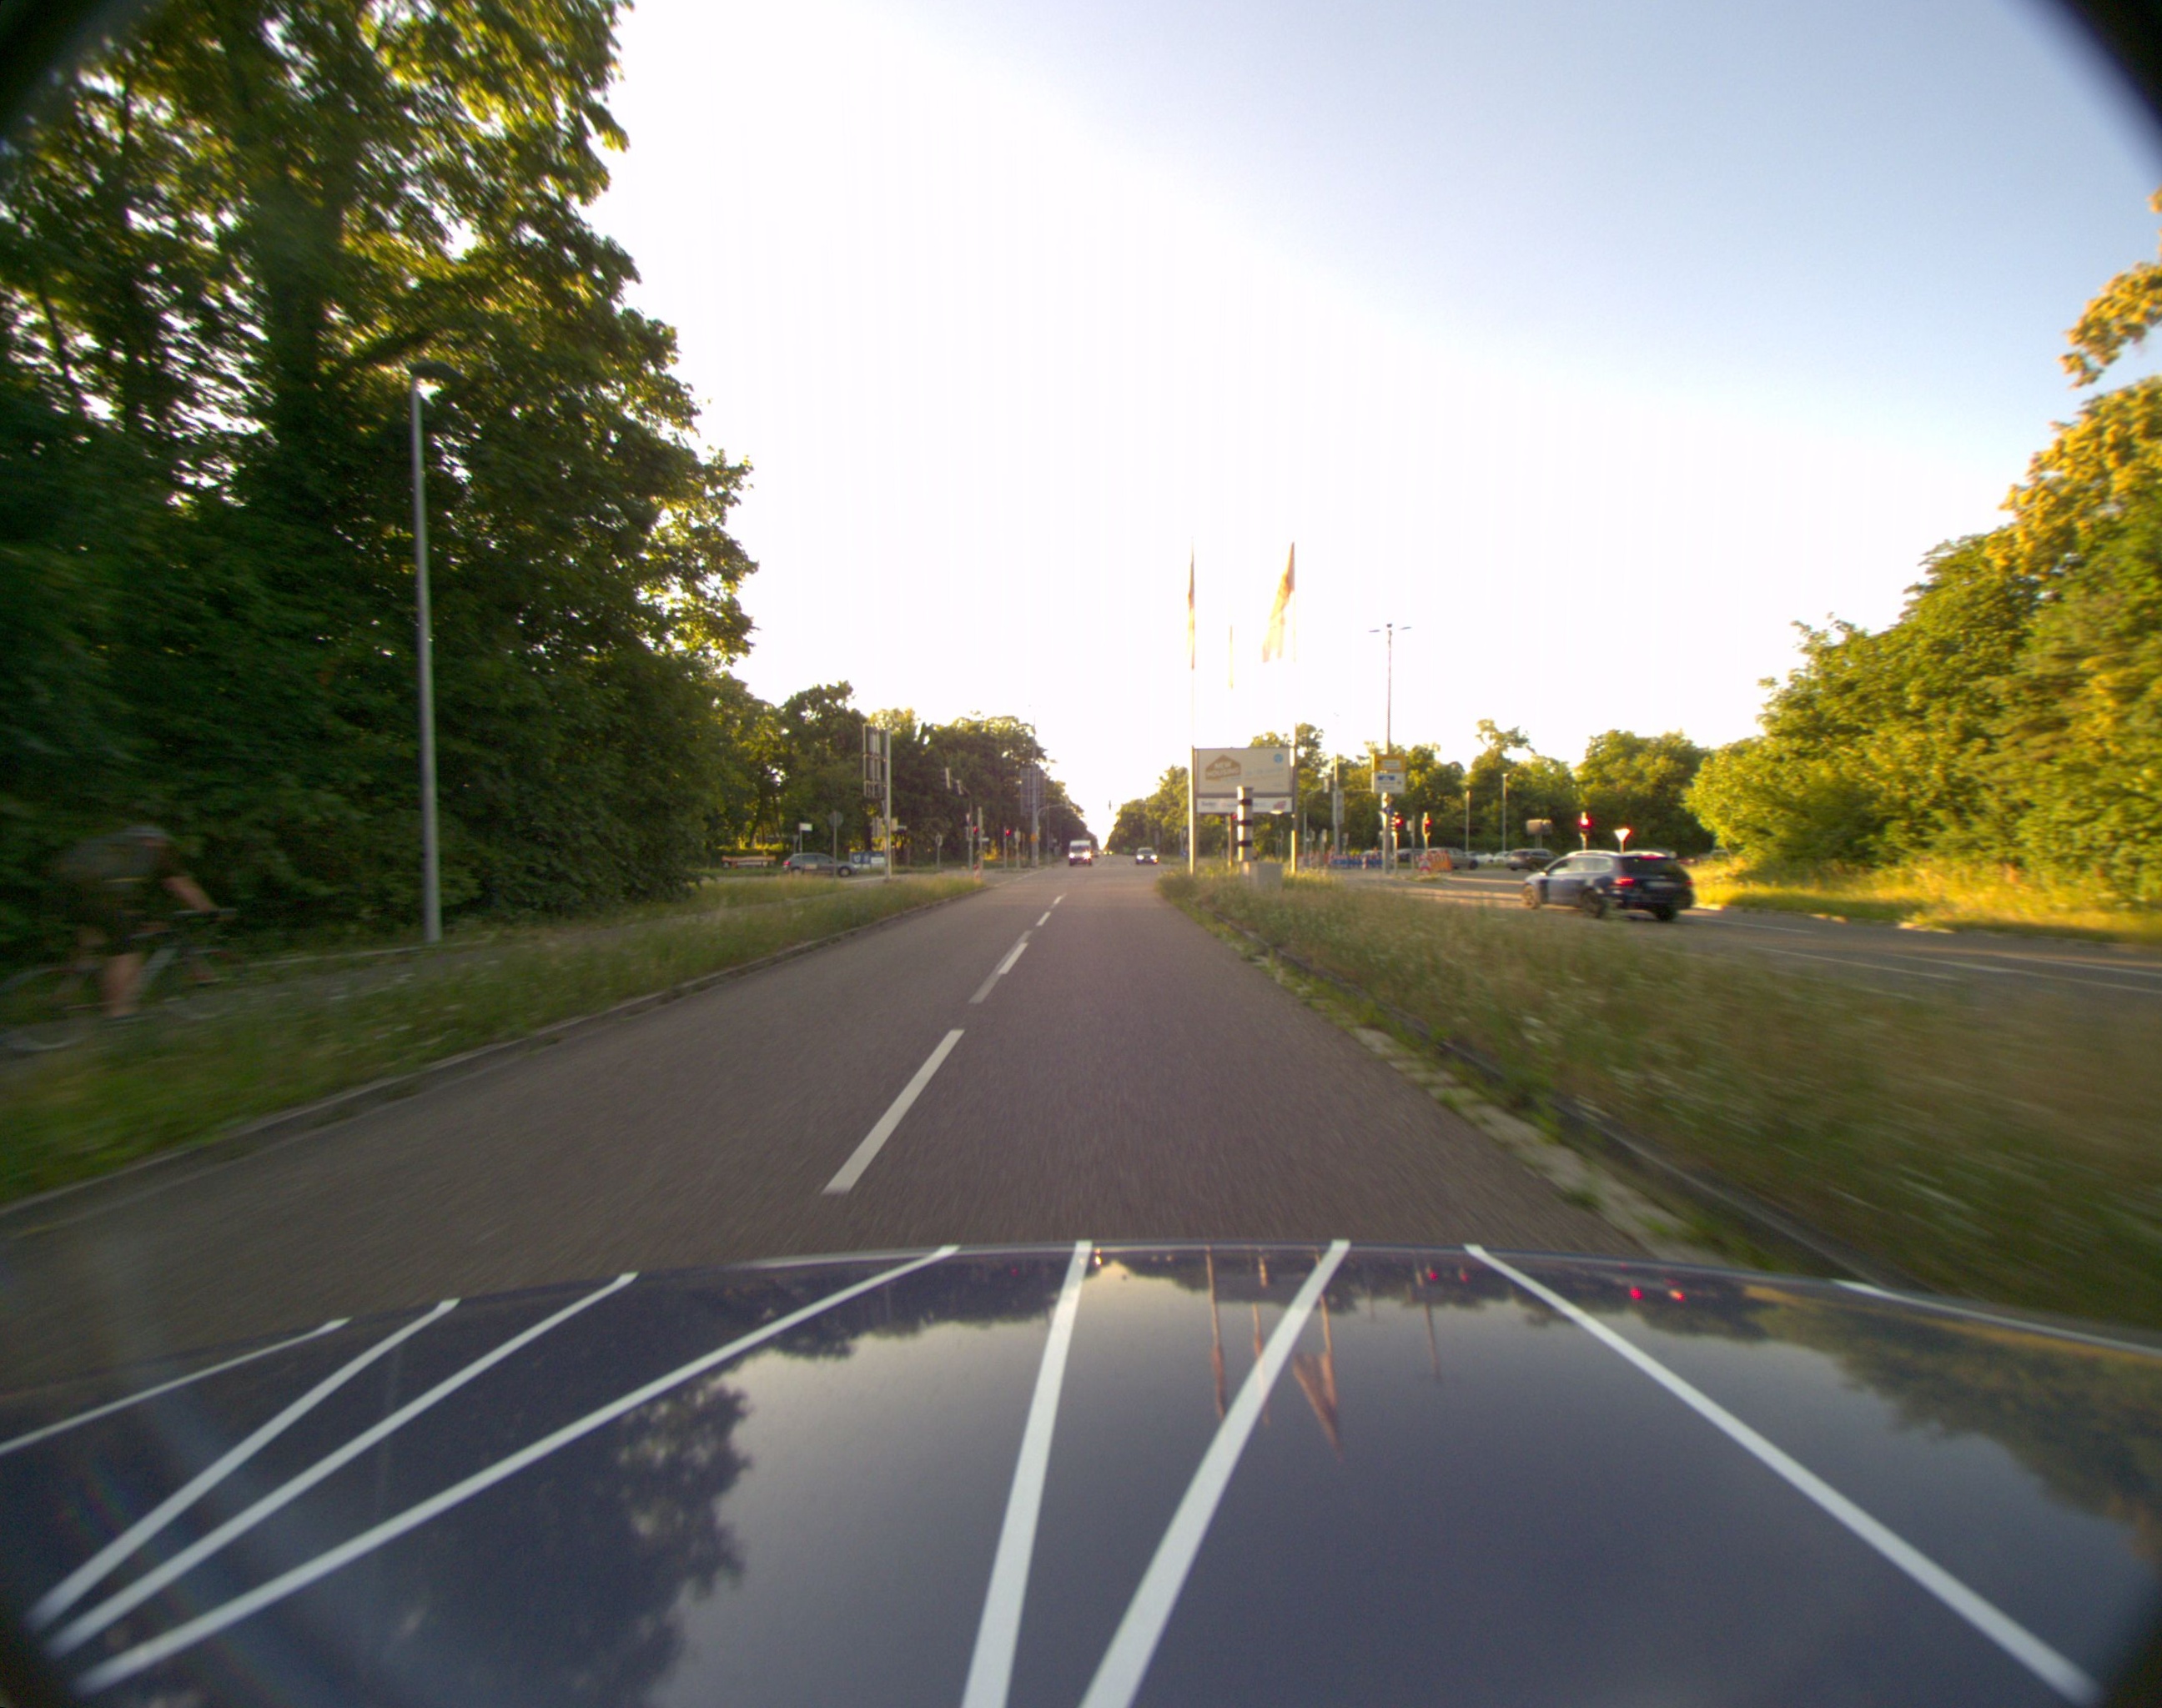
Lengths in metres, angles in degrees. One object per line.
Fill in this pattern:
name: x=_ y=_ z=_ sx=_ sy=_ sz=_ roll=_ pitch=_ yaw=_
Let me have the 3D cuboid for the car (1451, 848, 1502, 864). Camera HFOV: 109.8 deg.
car: x=37.422 y=0.163 z=71.831 sx=4.235 sy=1.447 sz=1.719 roll=-1 pitch=1 yaw=-15

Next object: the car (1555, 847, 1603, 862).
car: x=52.003 y=0.058 z=79.315 sx=4.403 sy=1.447 sz=1.719 roll=-1 pitch=1 yaw=-15

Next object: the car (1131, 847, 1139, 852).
car: x=14.660 y=-1.290 z=206.574 sx=1.663 sy=1.320 sz=4.045 roll=0 pitch=2 yaw=0

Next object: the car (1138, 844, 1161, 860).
car: x=6.689 y=-0.200 z=74.657 sx=2.001 sy=1.511 sz=4.000 roll=-1 pitch=1 yaw=2

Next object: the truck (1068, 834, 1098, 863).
truck: x=0.140 y=-0.495 z=72.712 sx=2.603 sy=2.542 sz=6.023 roll=-3 pitch=0 yaw=0

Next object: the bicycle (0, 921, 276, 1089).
bicycle: x=-7.746 y=1.129 z=6.140 sx=0.612 sy=0.990 sz=1.691 roll=0 pitch=1 yaw=2

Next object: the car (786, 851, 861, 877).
car: x=-15.204 y=0.567 z=44.798 sx=4.080 sy=1.398 sz=1.868 roll=-1 pitch=3 yaw=-22

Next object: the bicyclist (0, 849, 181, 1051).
bicyclist: x=-7.702 y=0.687 z=5.836 sx=0.604 sy=1.447 sz=0.780 roll=0 pitch=1 yaw=2

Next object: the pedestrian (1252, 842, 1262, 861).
pedestrian: x=16.723 y=-0.216 z=72.125 sx=0.750 sy=1.790 sz=0.575 roll=-1 pitch=2 yaw=-13

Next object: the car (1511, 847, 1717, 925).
car: x=12.109 y=0.632 z=17.703 sx=1.823 sy=1.525 sz=4.455 roll=1 pitch=1 yaw=3

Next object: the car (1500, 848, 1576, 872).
car: x=33.489 y=0.416 z=55.665 sx=4.824 sy=1.652 sz=2.009 roll=-1 pitch=3 yaw=-16

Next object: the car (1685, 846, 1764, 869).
car: x=52.028 y=0.274 z=61.491 sx=4.654 sy=1.715 sz=1.873 roll=0 pitch=1 yaw=6

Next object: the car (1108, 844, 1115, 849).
car: x=8.998 y=-2.226 z=226.481 sx=1.846 sy=1.587 sz=4.207 roll=0 pitch=2 yaw=1

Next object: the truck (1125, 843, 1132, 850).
truck: x=14.371 y=-2.388 z=229.979 sx=1.999 sy=2.109 sz=3.999 roll=0 pitch=1 yaw=0

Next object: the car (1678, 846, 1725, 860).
car: x=67.804 y=-0.140 z=83.052 sx=4.236 sy=1.413 sz=1.881 roll=0 pitch=1 yaw=-16

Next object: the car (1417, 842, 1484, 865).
car: x=27.740 y=-0.055 z=57.058 sx=4.400 sy=1.615 sz=1.997 roll=-1 pitch=1 yaw=-19

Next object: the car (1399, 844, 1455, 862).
car: x=29.332 y=-0.097 z=64.440 sx=4.235 sy=1.447 sz=1.719 roll=-1 pitch=1 yaw=-15
